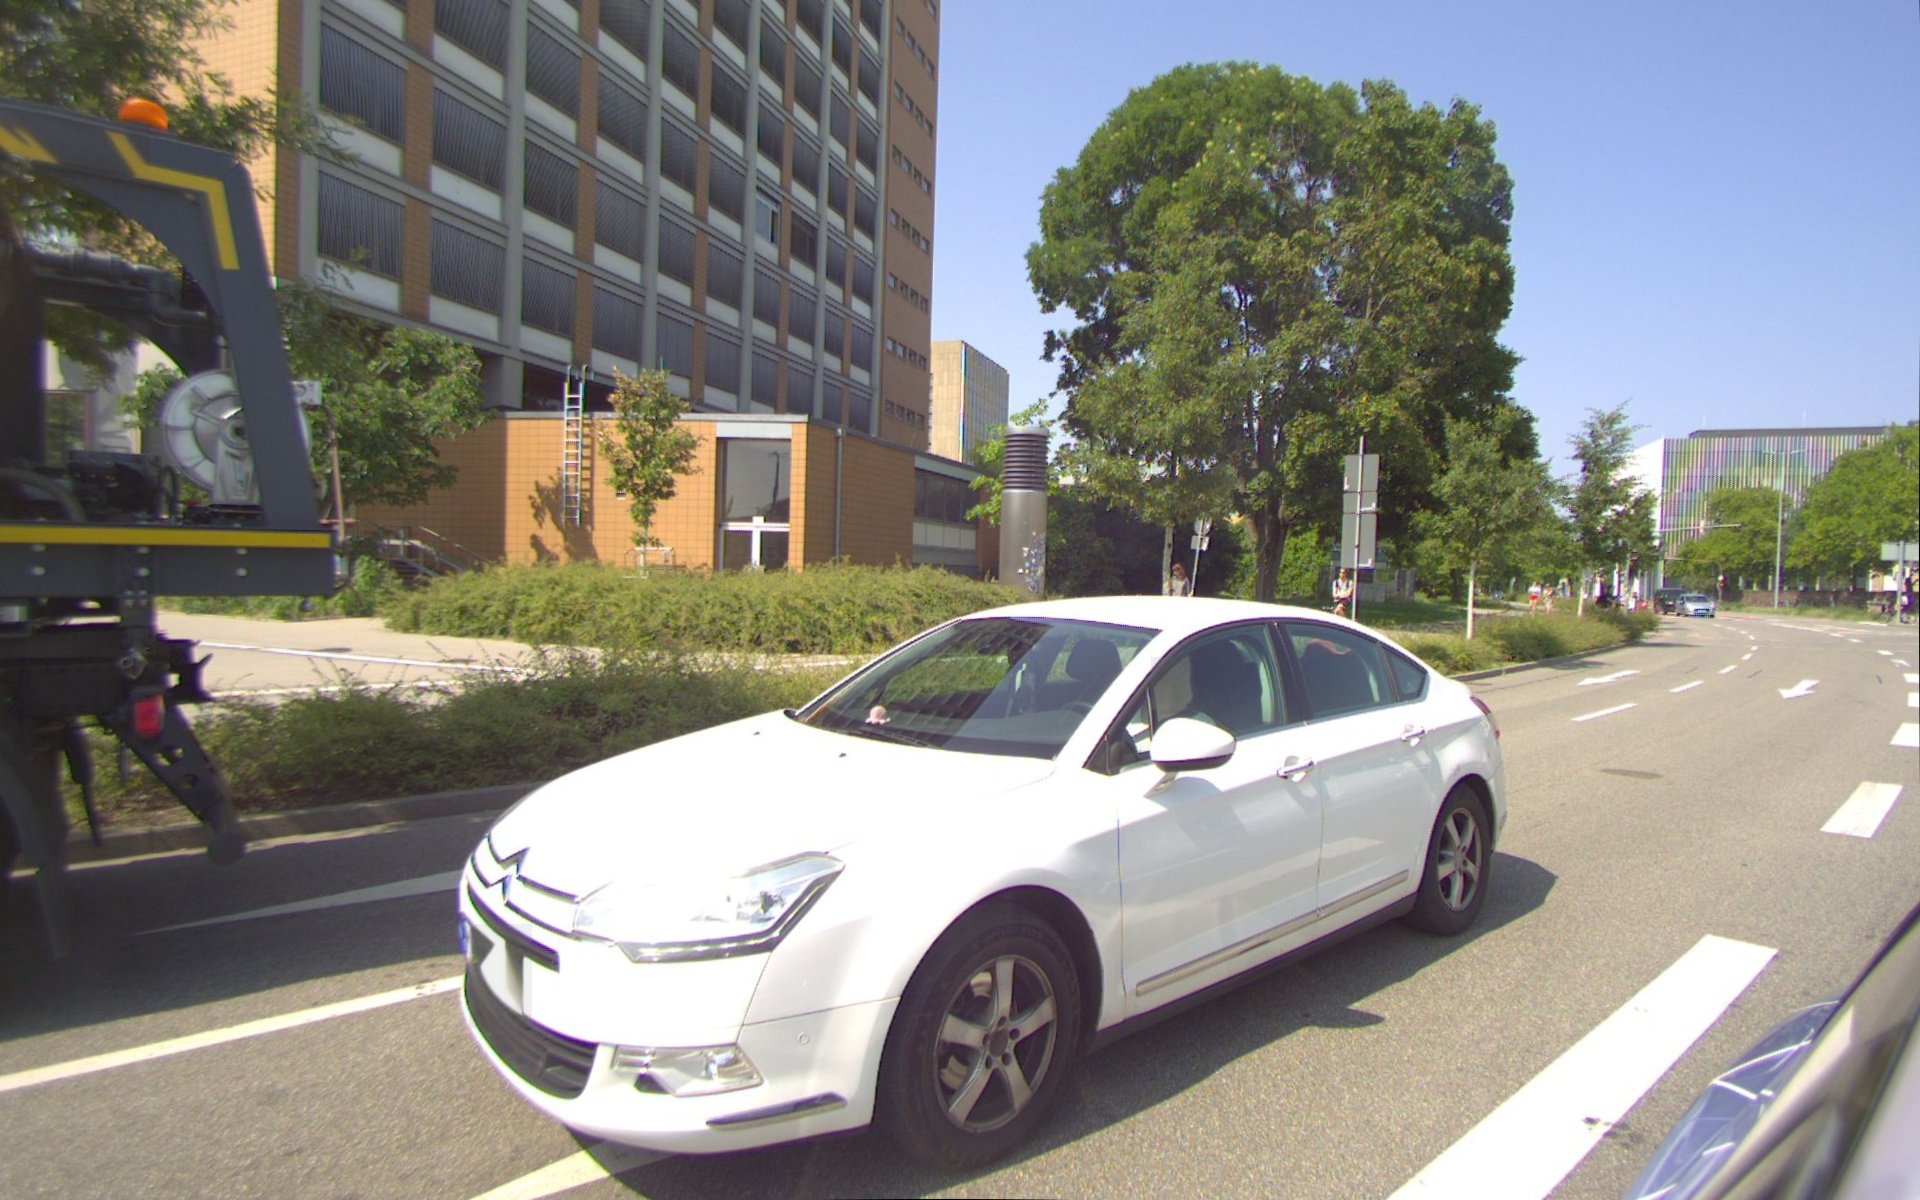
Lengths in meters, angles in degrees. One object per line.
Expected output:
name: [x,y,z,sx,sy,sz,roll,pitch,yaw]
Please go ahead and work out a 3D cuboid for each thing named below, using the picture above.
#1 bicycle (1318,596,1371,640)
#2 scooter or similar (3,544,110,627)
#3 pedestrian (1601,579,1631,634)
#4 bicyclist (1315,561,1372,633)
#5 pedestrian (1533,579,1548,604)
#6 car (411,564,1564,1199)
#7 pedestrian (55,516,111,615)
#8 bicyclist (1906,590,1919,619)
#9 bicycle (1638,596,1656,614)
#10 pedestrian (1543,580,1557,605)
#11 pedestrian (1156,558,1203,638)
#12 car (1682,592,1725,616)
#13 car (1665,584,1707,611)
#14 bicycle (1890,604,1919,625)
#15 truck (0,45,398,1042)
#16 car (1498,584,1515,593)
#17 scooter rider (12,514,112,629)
bicycle: [9.026,0.401,23.719,1.751,0.992,0.357,0,2,-41]
scooter or similar: [-14.515,-0.227,16.294,1.153,1.295,0.652,0,0,-28]
pedestrian: [23.362,0.210,36.043,0.818,1.926,0.622,2,1,37]
bicyclist: [9.008,-0.083,23.783,0.909,1.625,0.903,0,1,-43]
pedestrian: [30.596,-0.437,53.311,0.628,1.315,0.483,0,0,24]
car: [0.527,0.638,4.032,4.527,1.446,1.773,0,2,-39]
pedestrian: [-17.283,-0.688,19.947,0.831,1.894,0.622,2,2,31]
bicyclist: [53.033,0.250,55.929,1.014,1.570,0.708,2,1,43]
bicycle: [46.833,0.356,68.977,2.199,1.183,0.593,0,2,-45]
pedestrian: [31.000,-0.407,53.176,0.610,1.315,0.434,0,0,22]
pedestrian: [4.829,-0.053,22.287,0.670,1.720,0.794,2,1,42]
car: [50.632,0.247,68.986,1.643,1.550,4.491,0,0,27]
car: [53.991,-0.179,75.340,1.874,1.943,4.489,1,1,28]
bicycle: [52.974,0.830,55.933,2.260,1.090,0.649,3,2,43]
truck: [-5.579,-0.183,2.797,6.737,3.174,2.498,0,0,-39]
car: [99.951,-2.115,185.045,1.849,1.549,4.509,2,2,17]
scooter rider: [-14.442,-0.447,16.310,1.019,1.780,0.861,0,0,-28]
